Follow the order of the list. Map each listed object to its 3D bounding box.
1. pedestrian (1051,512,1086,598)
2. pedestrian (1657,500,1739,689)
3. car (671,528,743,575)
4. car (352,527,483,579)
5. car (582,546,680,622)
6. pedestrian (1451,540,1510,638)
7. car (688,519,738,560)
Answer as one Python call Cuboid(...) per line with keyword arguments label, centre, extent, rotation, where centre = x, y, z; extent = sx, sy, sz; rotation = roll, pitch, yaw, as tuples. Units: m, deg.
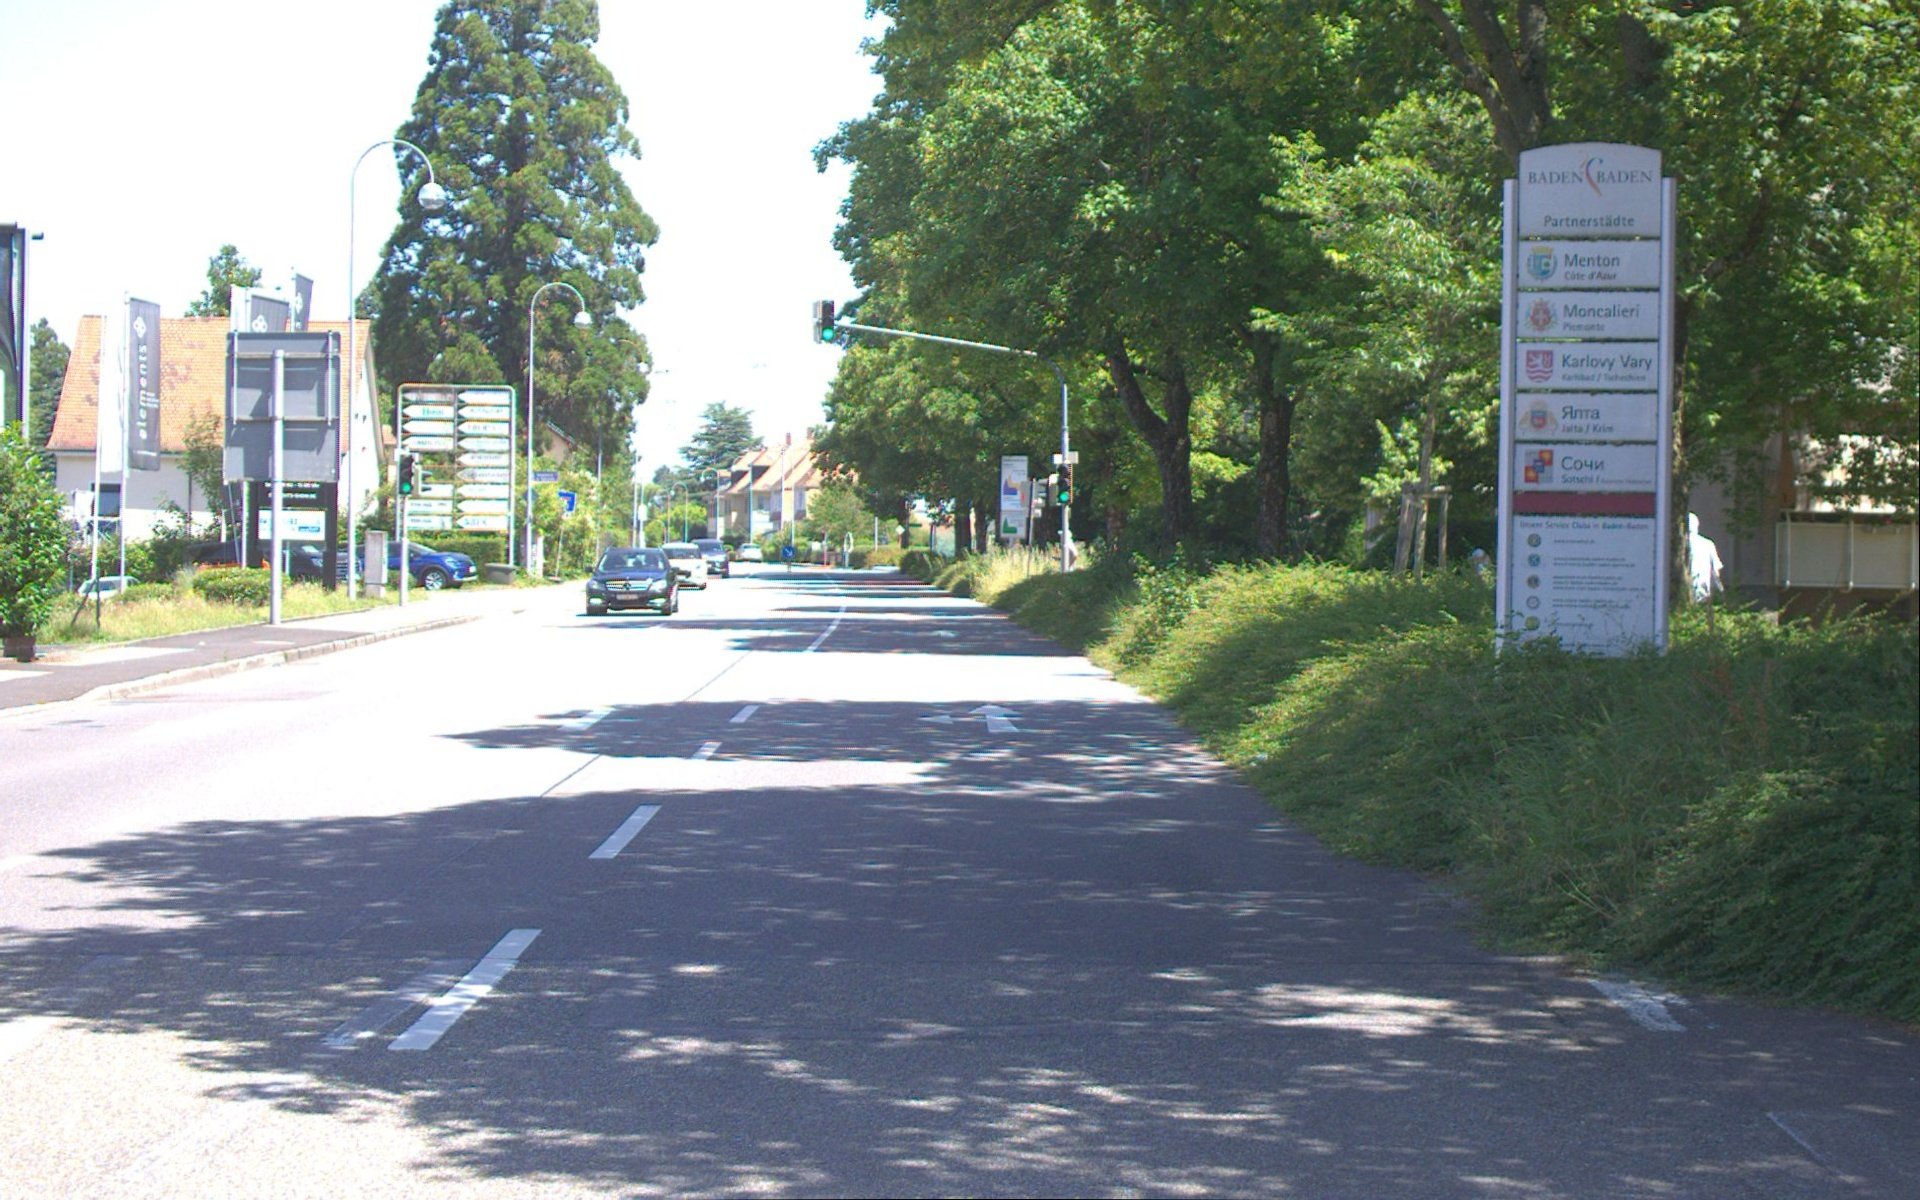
Cuboid(label="pedestrian", centre=(2.214, -0.927, 70.329), extent=(0.613, 1.745, 0.562), rotation=(1, 0, 11))
Cuboid(label="pedestrian", centre=(7.533, -0.059, 35.089), extent=(0.703, 1.908, 0.660), rotation=(0, 1, 3))
Cuboid(label="car", centre=(-8.225, -1.591, 111.955), extent=(1.993, 1.482, 4.310), rotation=(0, 2, 0))
Cuboid(label="car", centre=(-15.446, -1.333, 97.964), extent=(3.490, 1.422, 1.601), rotation=(1, 1, -2))
Cuboid(label="car", centre=(-6.879, -0.365, 72.201), extent=(1.710, 1.490, 4.278), rotation=(1, 1, -1))
Cuboid(label="pedestrian", centre=(7.202, -0.158, 47.638), extent=(0.661, 1.330, 0.889), rotation=(1, 0, 0))
Cuboid(label="car", centre=(-10.574, -2.593, 147.216), extent=(1.879, 1.712, 4.310), rotation=(1, 1, -1))
